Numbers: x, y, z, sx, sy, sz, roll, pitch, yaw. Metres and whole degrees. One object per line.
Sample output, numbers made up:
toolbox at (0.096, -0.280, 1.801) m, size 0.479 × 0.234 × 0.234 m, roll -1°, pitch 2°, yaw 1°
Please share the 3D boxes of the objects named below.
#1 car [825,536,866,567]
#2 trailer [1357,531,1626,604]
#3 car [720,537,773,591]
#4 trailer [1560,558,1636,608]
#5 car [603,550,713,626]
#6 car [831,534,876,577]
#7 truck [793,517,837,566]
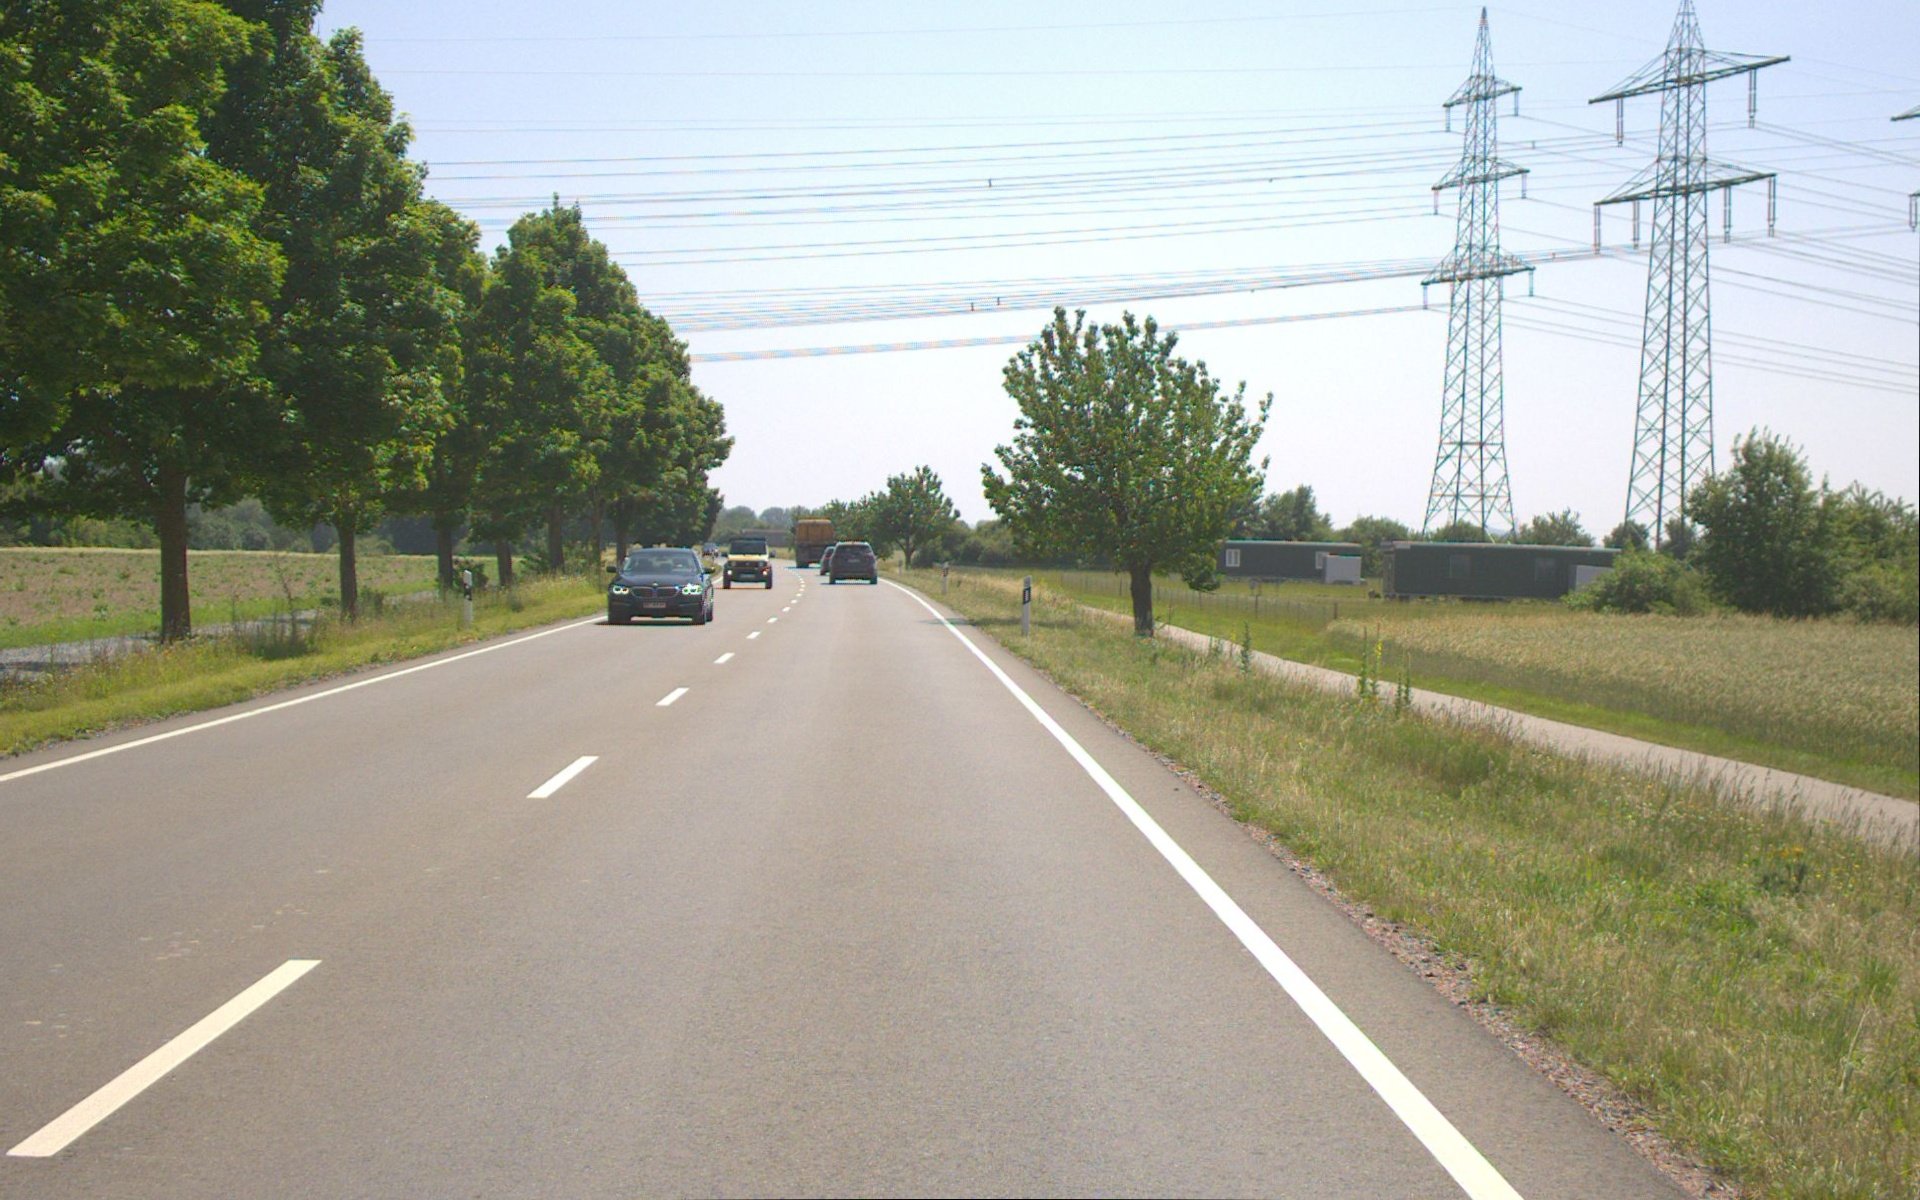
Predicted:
car at (-5.827, -2.447, 174.606) m, size 1.850 × 1.517 × 4.001 m, roll 1°, pitch 1°, yaw -5°
trailer at (27.992, -1.719, 181.386) m, size 13.507 × 3.463 × 3.277 m, roll 2°, pitch 1°, yaw -4°
car at (-7.480, -1.284, 120.585) m, size 1.681 × 1.842 × 4.000 m, roll 1°, pitch 1°, yaw -2°
trailer at (33.200, -0.899, 178.926) m, size 3.407 × 2.454 × 2.038 m, roll 2°, pitch 1°, yaw -4°
car at (-5.835, -0.255, 66.746) m, size 1.822 × 1.415 × 4.589 m, roll 1°, pitch 1°, yaw -1°
car at (-4.226, -1.758, 136.472) m, size 1.714 × 1.688 × 3.989 m, roll 1°, pitch 1°, yaw -3°
truck at (-9.654, -3.882, 227.823) m, size 2.370 × 3.129 × 8.749 m, roll 1°, pitch 1°, yaw -6°
